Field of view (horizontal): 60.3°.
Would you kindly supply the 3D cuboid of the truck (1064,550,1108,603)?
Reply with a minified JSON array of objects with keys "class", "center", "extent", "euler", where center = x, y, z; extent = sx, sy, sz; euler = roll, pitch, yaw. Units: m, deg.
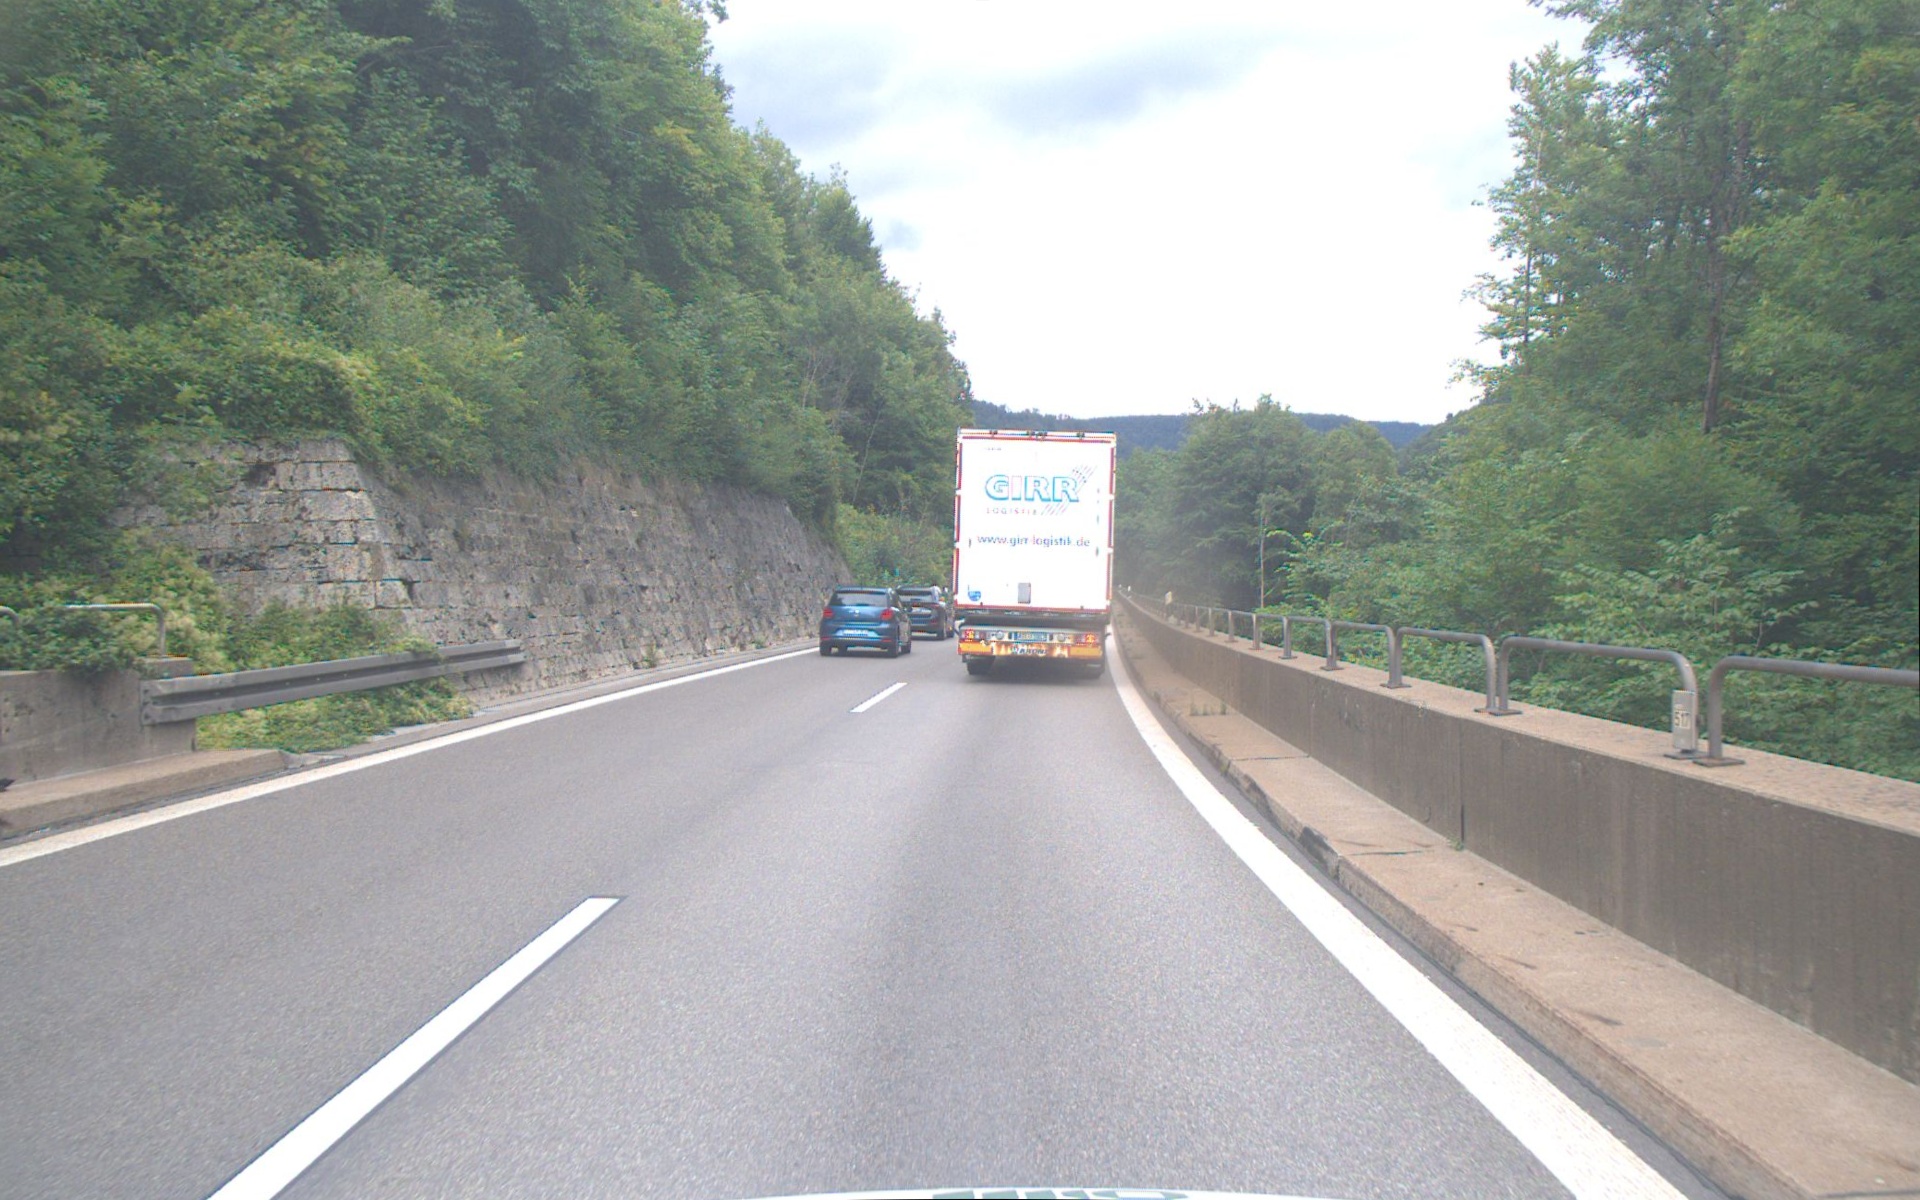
[{"class":"truck","center":[9.719,-1.732,126.711],"extent":[2.908,3.831,10.369],"euler":[1,0,6]}]

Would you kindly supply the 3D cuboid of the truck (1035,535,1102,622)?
[{"class":"truck","center":[5.085,-0.994,76.980],"extent":[2.908,3.830,5.574],"euler":[2,0,5]}]

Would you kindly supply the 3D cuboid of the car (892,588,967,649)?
[{"class":"car","center":[-0.807,0.517,46.341],"extent":[1.708,1.614,4.002],"euler":[1,-1,4]}]

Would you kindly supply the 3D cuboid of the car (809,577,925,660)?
[{"class":"car","center":[-1.933,0.346,35.641],"extent":[1.952,1.624,4.356],"euler":[1,1,4]}]

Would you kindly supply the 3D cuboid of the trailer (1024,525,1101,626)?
[{"class":"trailer","center":[4.520,-0.988,70.851],"extent":[2.908,3.830,12.462],"euler":[2,0,5]}]

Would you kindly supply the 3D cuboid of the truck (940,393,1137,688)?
[{"class":"truck","center":[1.714,-0.991,33.266],"extent":[3.020,4.542,15.163],"euler":[1,0,4]}]
